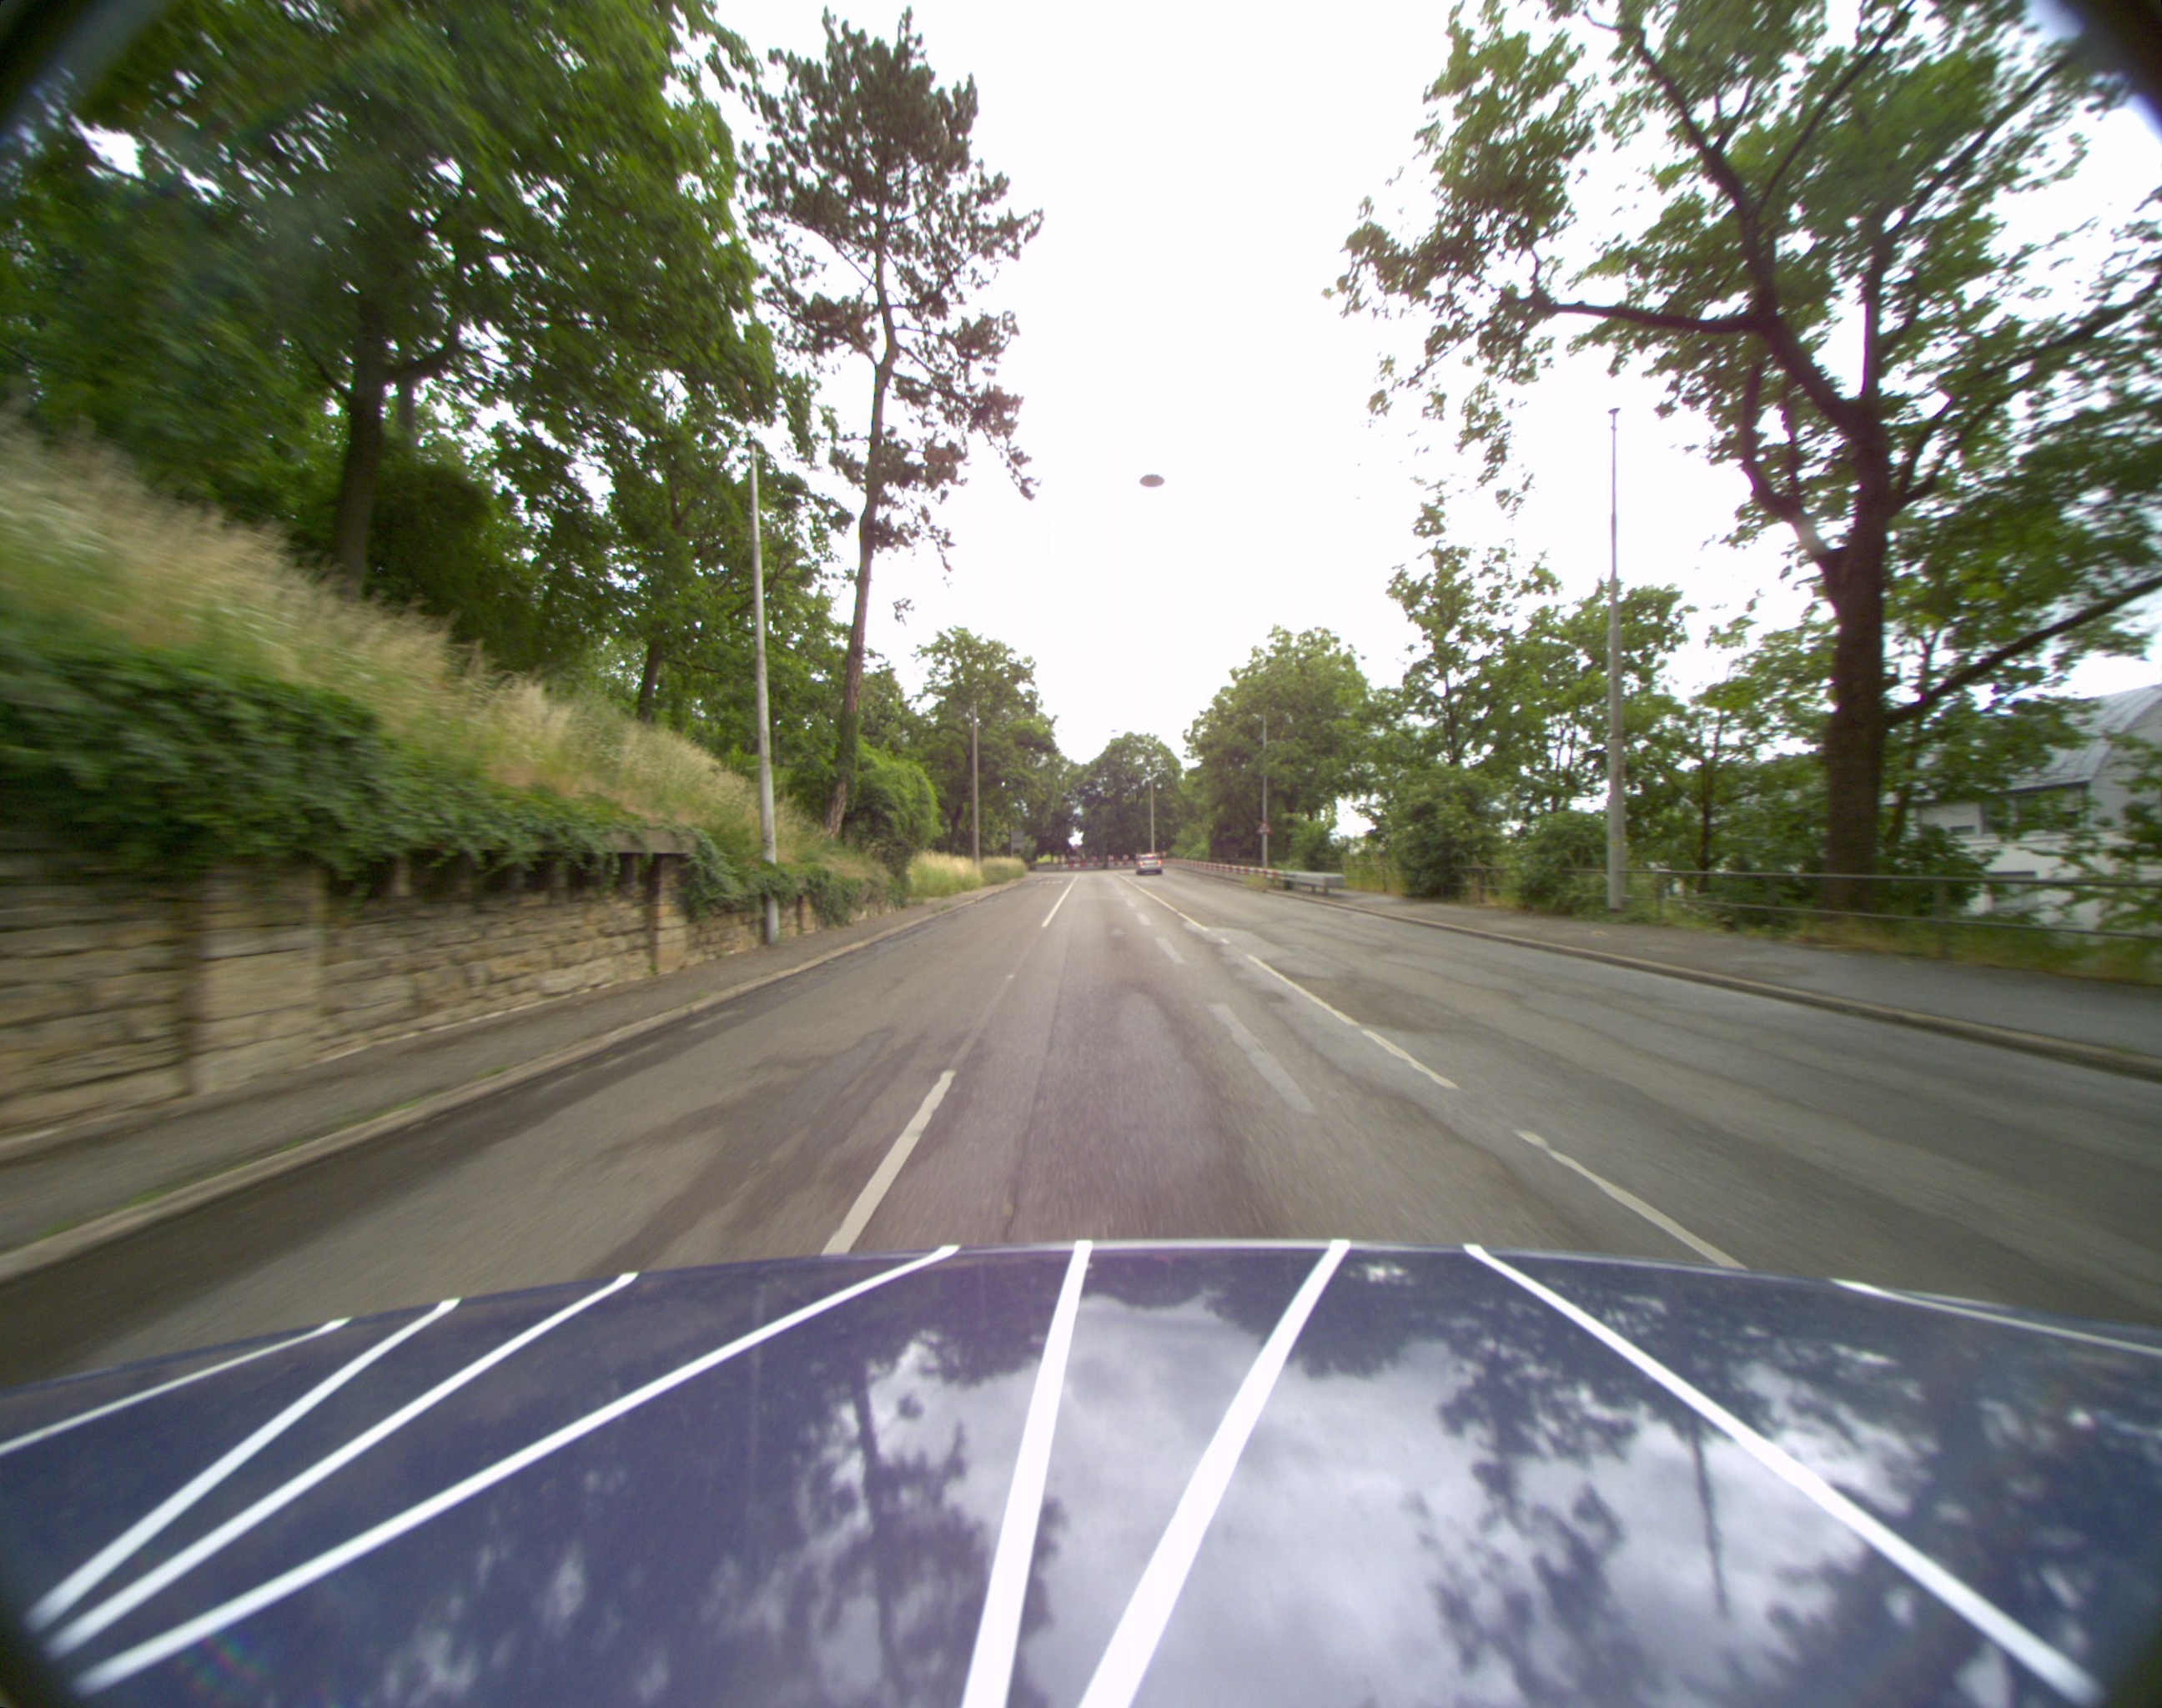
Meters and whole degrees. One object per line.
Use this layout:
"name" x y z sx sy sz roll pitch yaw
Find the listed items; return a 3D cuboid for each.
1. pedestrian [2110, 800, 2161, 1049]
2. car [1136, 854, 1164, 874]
"pedestrian" 8.070 0.481 5.026 0.790 1.764 1.209 -4 0 -2
"car" 5.117 0.706 56.771 1.799 1.419 4.143 -2 0 1
